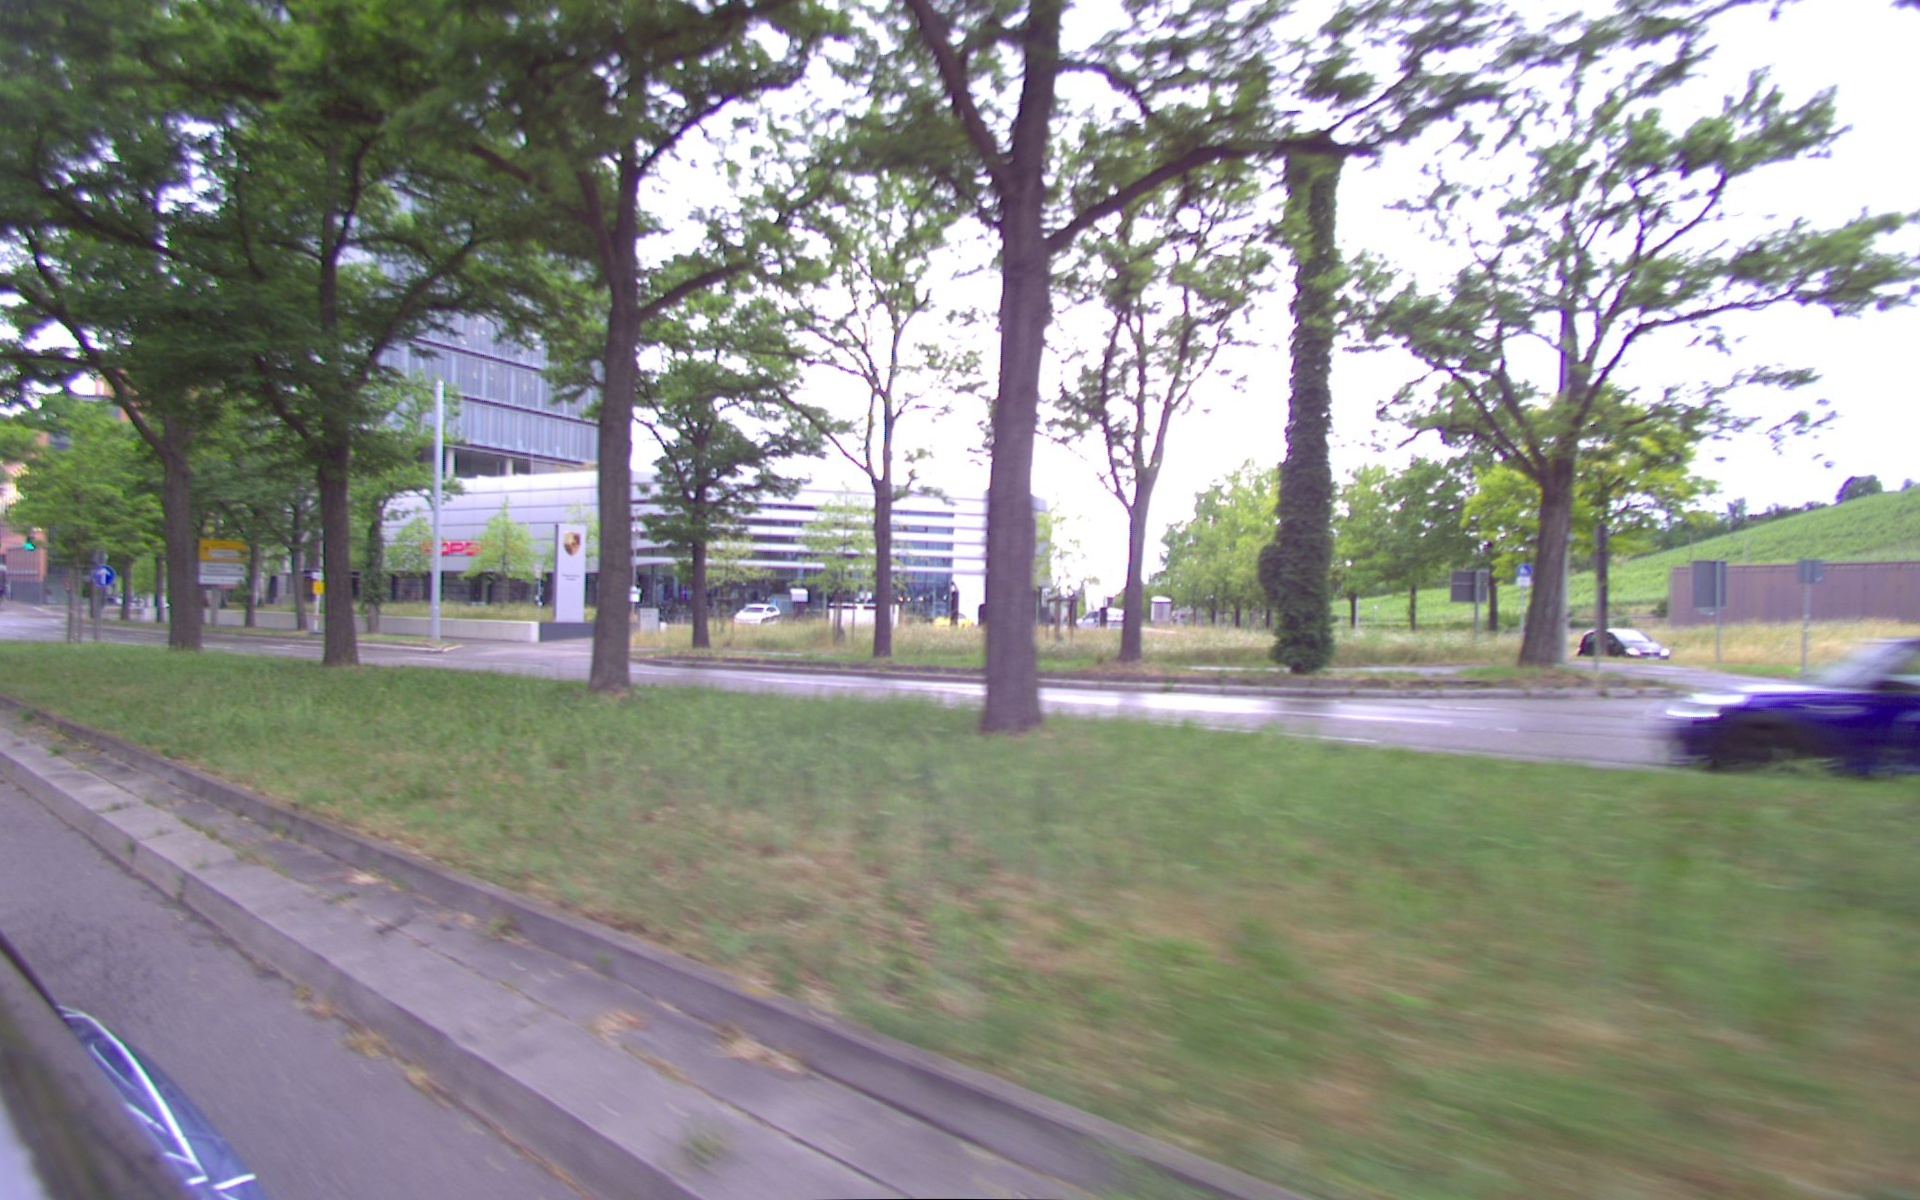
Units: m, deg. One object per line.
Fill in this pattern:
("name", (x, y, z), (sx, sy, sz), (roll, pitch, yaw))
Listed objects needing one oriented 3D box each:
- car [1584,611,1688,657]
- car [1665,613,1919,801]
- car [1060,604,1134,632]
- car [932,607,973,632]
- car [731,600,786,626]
("car", (28.048, 1.373, 42.172), (1.976, 1.674, 3.992), (0, 1, 7))
("car", (8.124, 0.830, 8.269), (3.873, 1.406, 1.771), (0, 0, 35))
("car", (6.888, 0.878, 51.271), (1.592, 1.254, 4.012), (-1, 2, -30))
("car", (-0.450, 1.203, 63.392), (1.605, 1.333, 3.982), (0, 1, 14))
("car", (-12.084, 0.744, 60.842), (1.761, 1.423, 3.983), (0, 1, 13))
